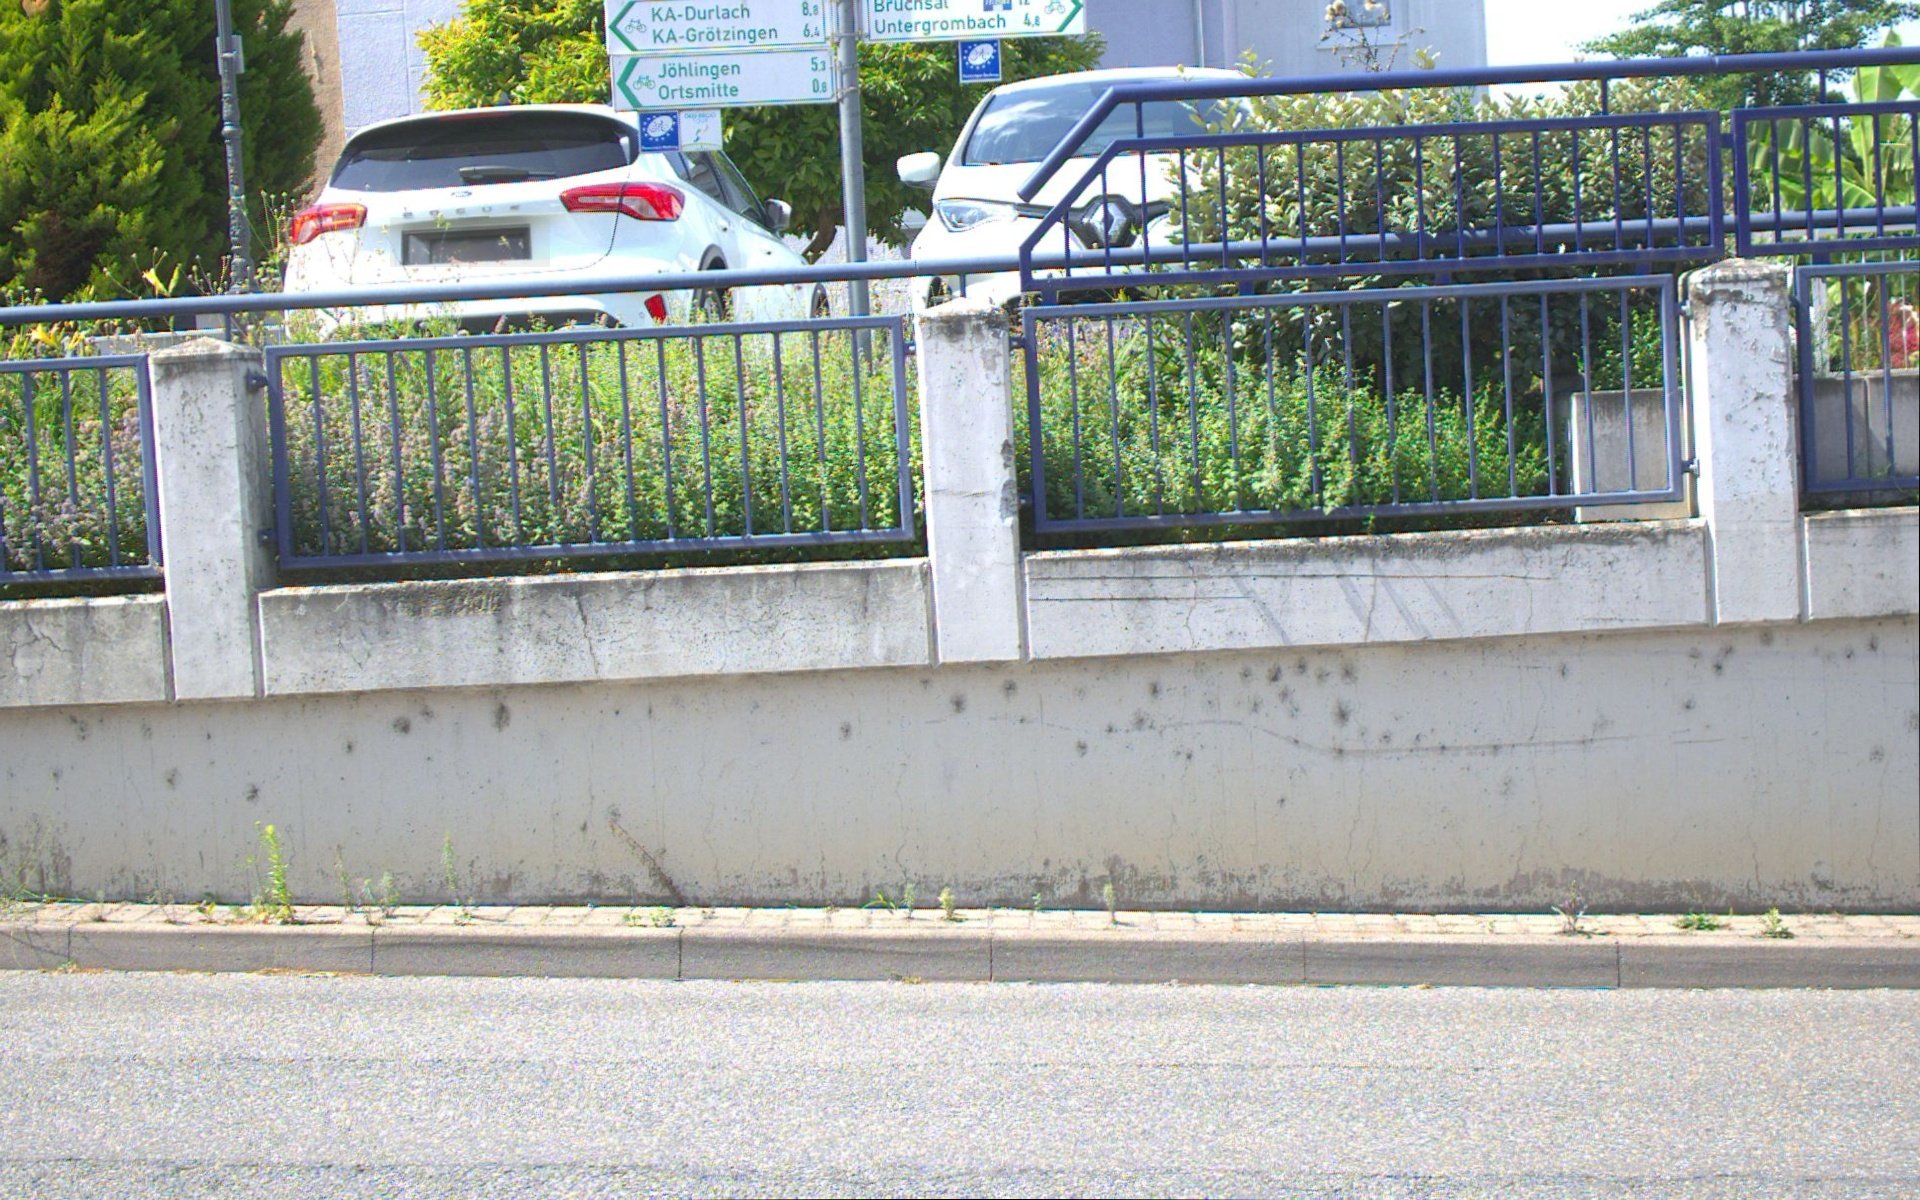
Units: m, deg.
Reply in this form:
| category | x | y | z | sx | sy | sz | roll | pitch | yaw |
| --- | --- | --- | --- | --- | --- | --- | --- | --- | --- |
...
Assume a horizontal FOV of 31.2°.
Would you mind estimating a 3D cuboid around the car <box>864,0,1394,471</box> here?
| category | x | y | z | sx | sy | sz | roll | pitch | yaw |
| --- | --- | --- | --- | --- | --- | --- | --- | --- | --- |
| car | 0.868 | -1.492 | 15.213 | 1.994 | 1.791 | 4.196 | 1 | 2 | 6 |

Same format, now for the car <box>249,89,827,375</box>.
| category | x | y | z | sx | sy | sz | roll | pitch | yaw |
| --- | --- | --- | --- | --- | --- | --- | --- | --- | --- |
| car | -1.768 | -1.591 | 15.498 | 1.825 | 1.016 | 3.459 | 1 | 2 | 6 |
